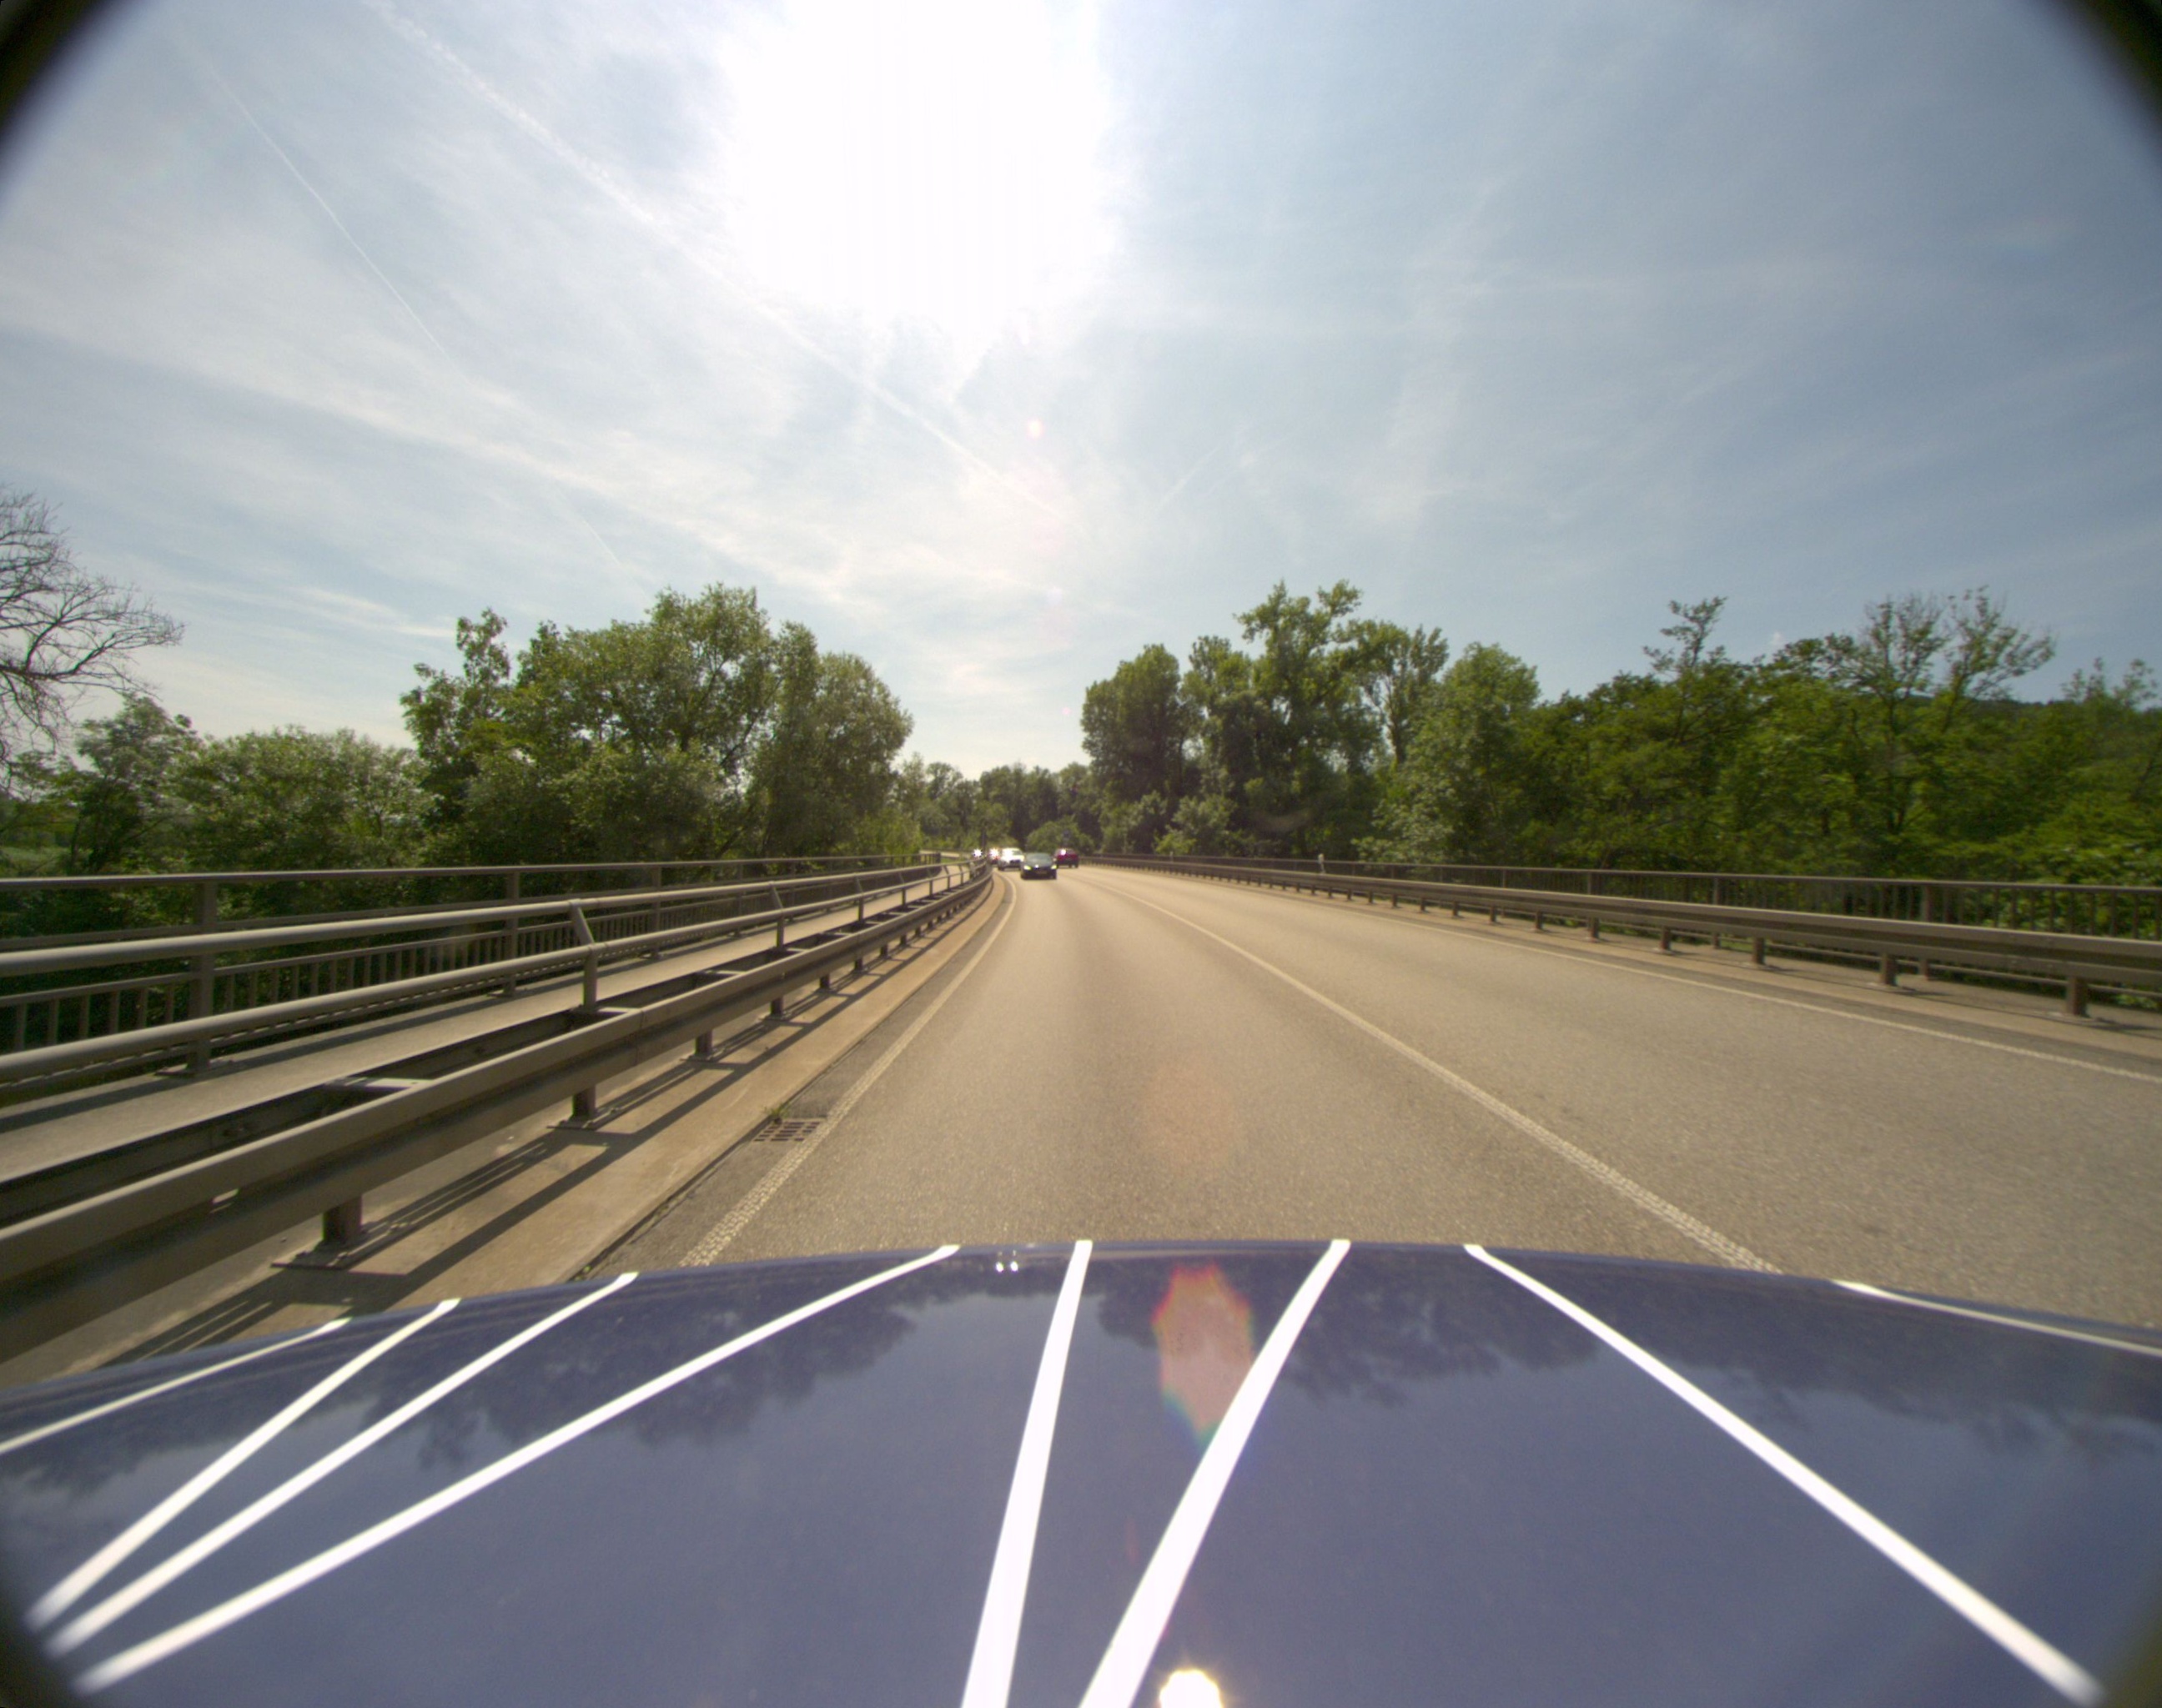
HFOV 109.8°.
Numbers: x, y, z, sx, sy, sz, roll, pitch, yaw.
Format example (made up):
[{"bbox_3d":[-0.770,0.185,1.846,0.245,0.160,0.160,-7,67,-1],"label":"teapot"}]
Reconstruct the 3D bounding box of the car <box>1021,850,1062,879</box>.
[{"bbox_3d":[-2.236,0.543,41.919,1.910,1.413,3.947,-2,1,-7],"label":"car"}]

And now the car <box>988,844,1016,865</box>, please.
[{"bbox_3d":[-7.174,0.026,68.453,2.001,1.765,3.995,-1,1,-13],"label":"car"}]

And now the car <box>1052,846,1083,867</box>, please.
[{"bbox_3d":[-1.121,0.180,60.676,1.825,1.515,3.946,-2,1,-11],"label":"car"}]

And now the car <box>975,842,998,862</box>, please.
[{"bbox_3d":[-10.393,-0.221,83.200,2.001,2.002,3.994,-3,1,-14],"label":"car"}]

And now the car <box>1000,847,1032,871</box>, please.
[{"bbox_3d":[-4.917,0.327,57.180,1.911,1.638,3.946,-2,1,-11],"label":"car"}]
